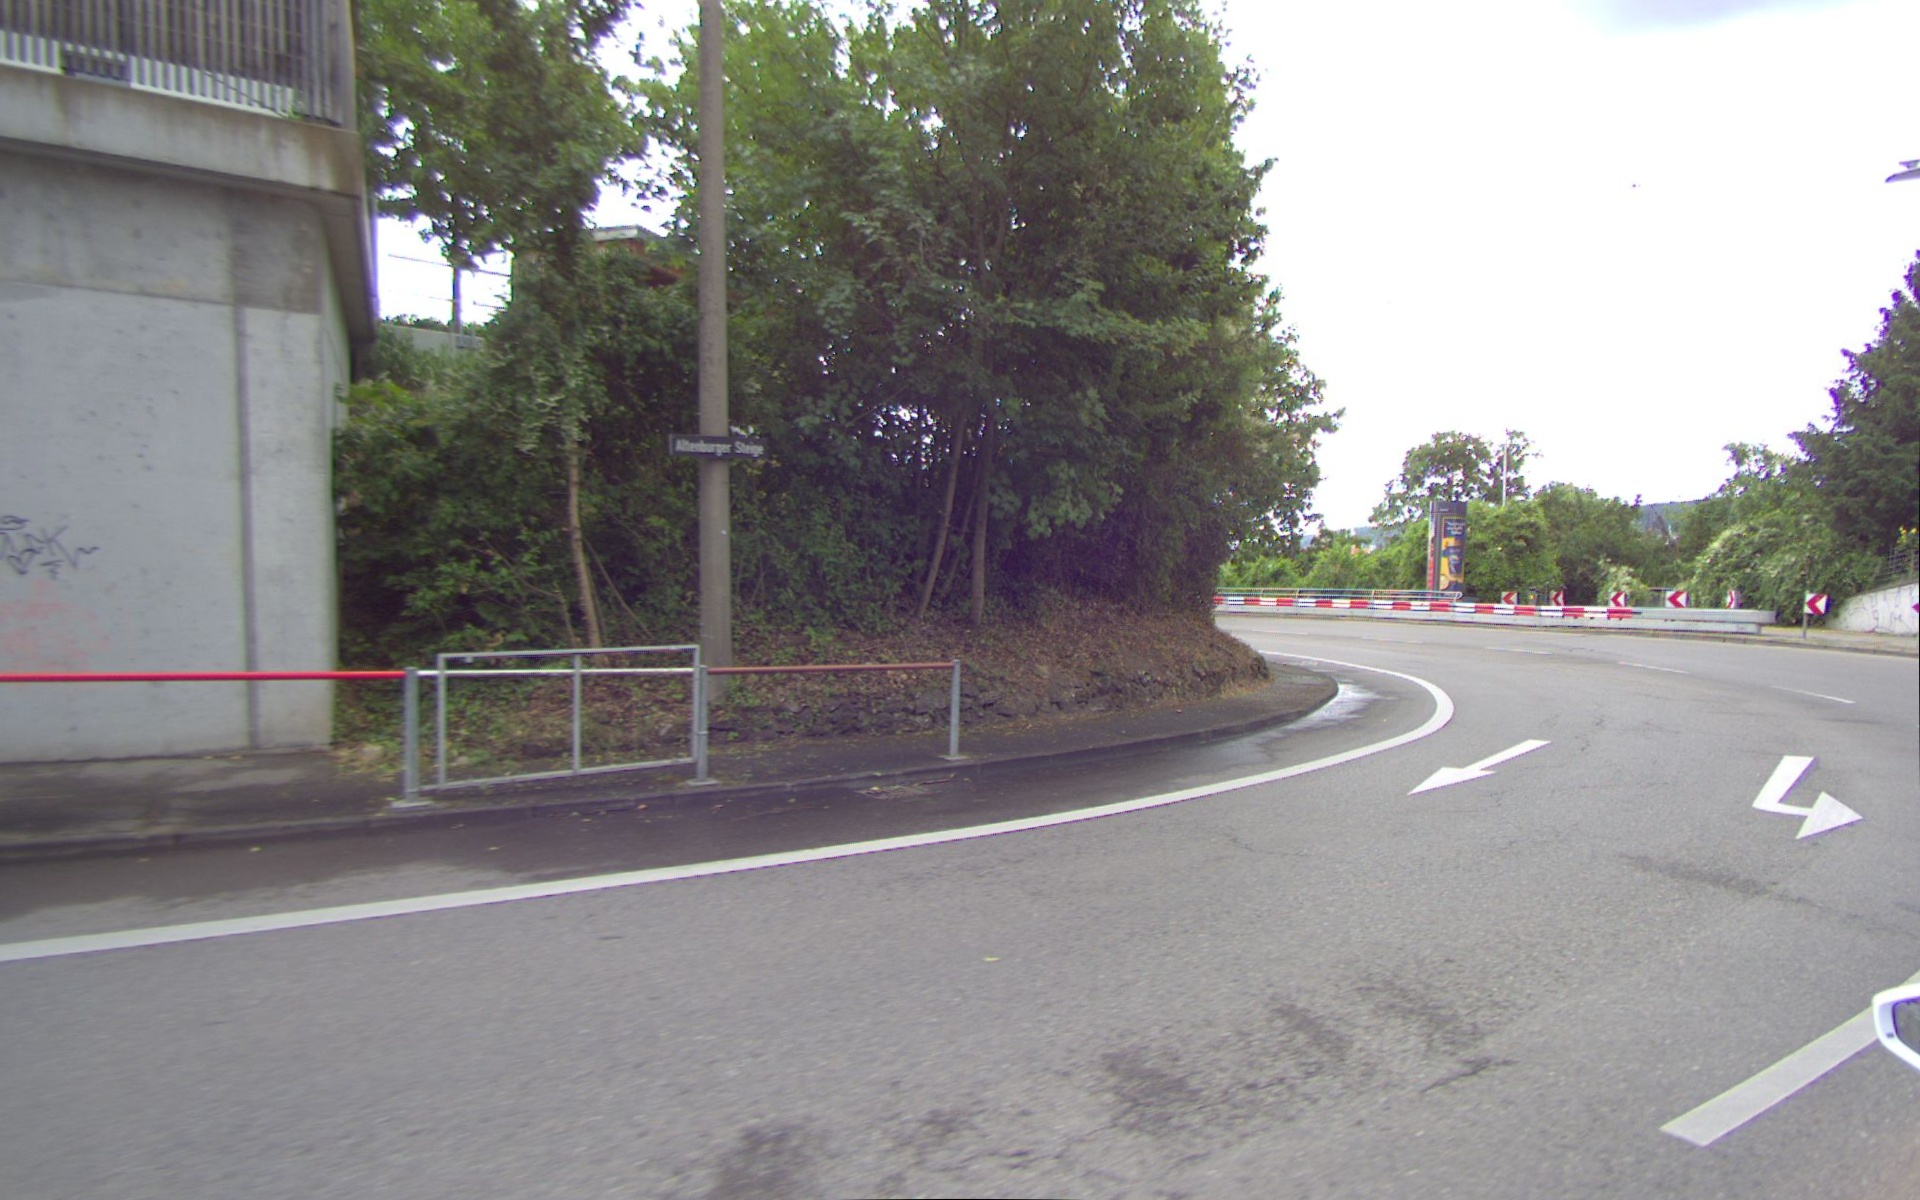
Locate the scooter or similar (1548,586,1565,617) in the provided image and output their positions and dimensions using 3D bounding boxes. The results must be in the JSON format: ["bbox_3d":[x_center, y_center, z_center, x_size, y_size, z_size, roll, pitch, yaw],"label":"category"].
[{"bbox_3d":[25.684,0.047,43.249,0.430,1.267,1.494,2,2,38],"label":"scooter or similar"}]
